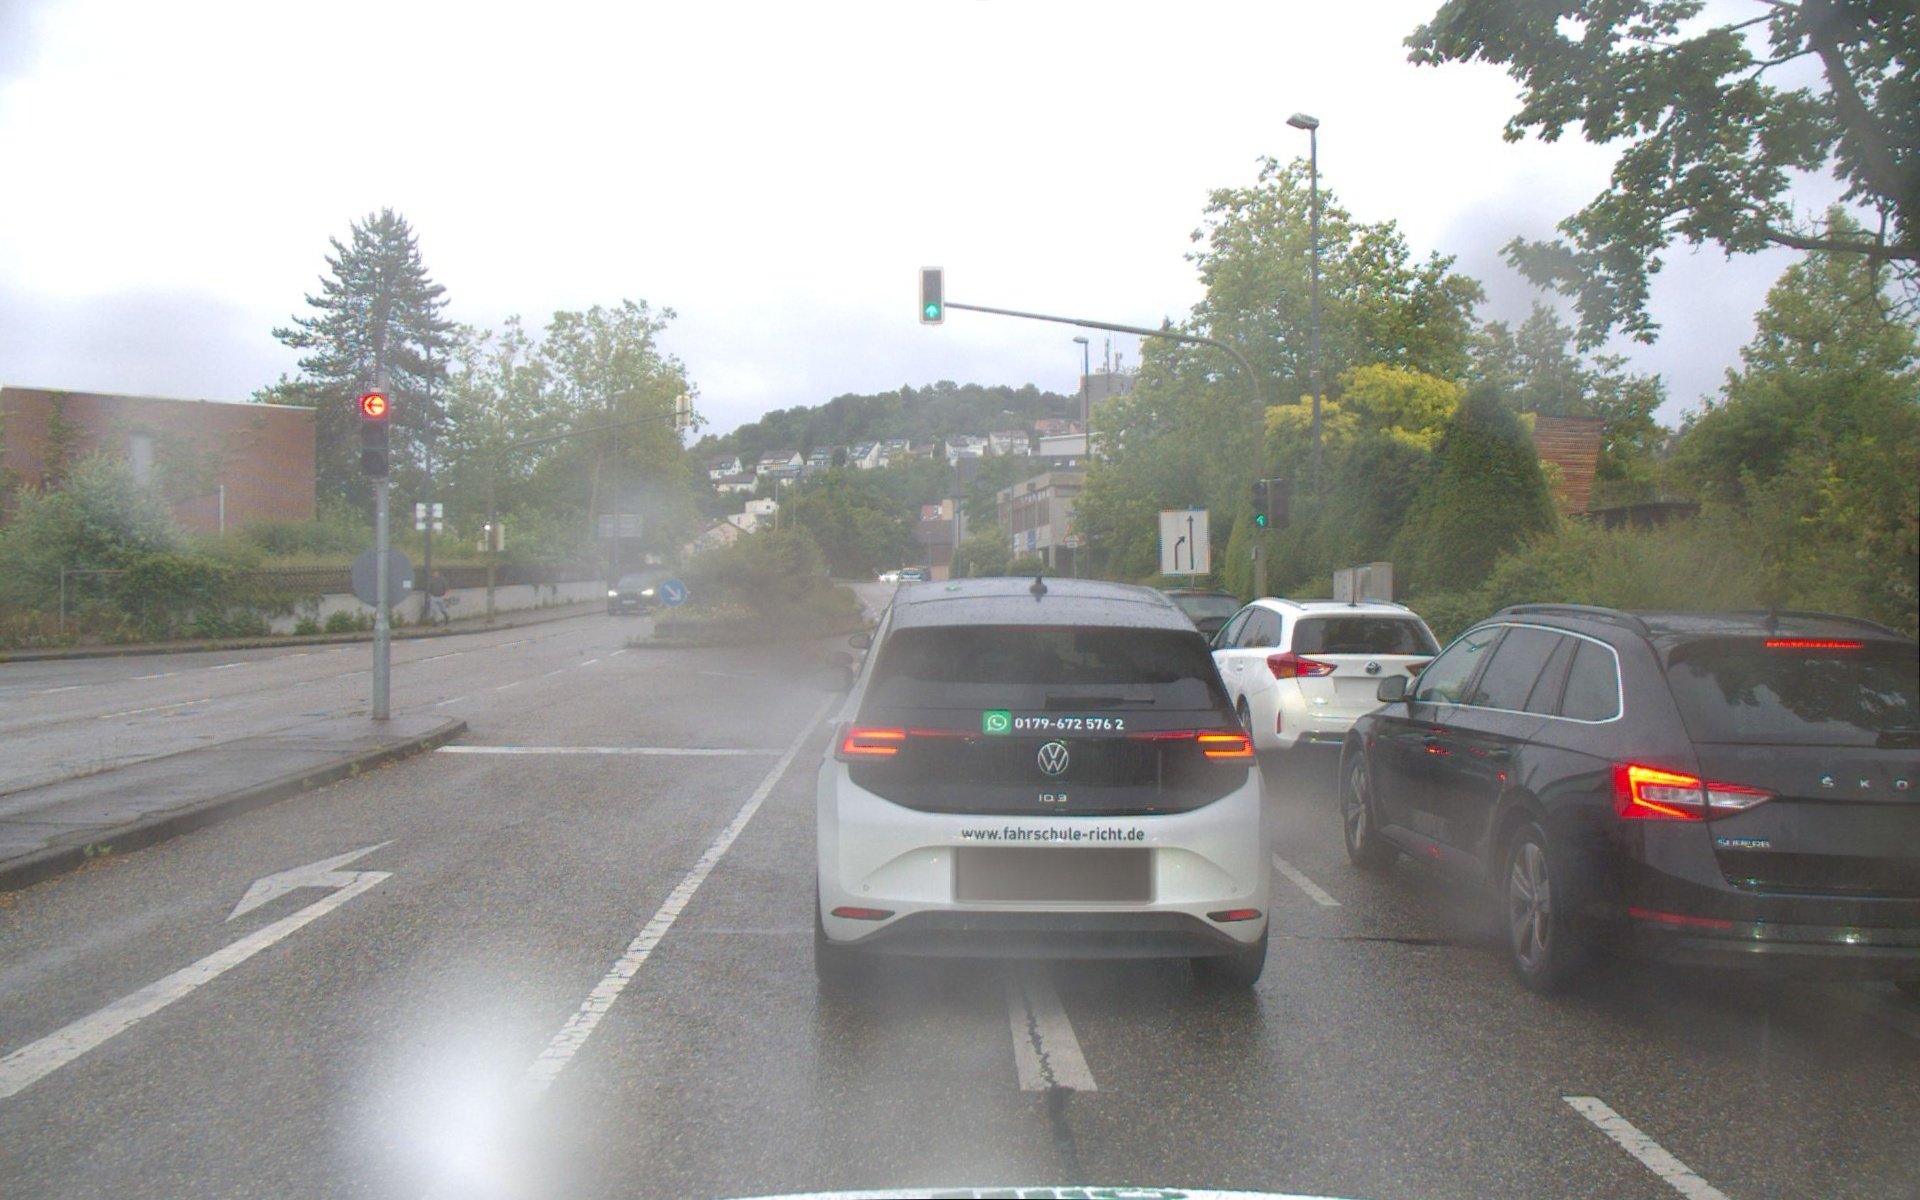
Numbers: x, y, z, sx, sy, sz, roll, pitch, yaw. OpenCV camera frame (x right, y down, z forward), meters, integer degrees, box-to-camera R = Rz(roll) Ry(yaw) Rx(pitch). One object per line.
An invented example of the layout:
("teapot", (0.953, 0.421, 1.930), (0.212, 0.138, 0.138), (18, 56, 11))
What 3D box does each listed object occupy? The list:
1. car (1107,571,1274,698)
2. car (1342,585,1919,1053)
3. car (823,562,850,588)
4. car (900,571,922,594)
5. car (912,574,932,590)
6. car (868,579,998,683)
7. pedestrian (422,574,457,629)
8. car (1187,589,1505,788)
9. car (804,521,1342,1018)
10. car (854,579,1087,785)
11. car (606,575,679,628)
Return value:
("car", (3.149, 0.448, 23.326), (1.739, 1.609, 3.999), (1, 0, -1))
("car", (3.135, 0.701, 7.535), (1.800, 1.492, 4.350), (1, 1, 1))
("car", (-10.447, -2.068, 140.123), (1.953, 2.049, 3.999), (1, -1, -1))
("car", (-3.462, -1.226, 117.349), (1.549, 1.492, 3.998), (-1, 0, -2))
("car", (-3.527, -1.696, 153.093), (1.726, 1.443, 3.747), (-1, 1, -3))
("car", (-0.427, 0.423, 25.392), (1.800, 1.424, 3.830), (1, 1, -1))
("pedestrian", (-15.574, 0.048, 49.502), (0.744, 1.595, 0.825), (-2, 0, -2))
("car", (3.297, 0.680, 14.964), (1.800, 1.492, 4.116), (1, 1, -1))
("car", (0.335, 0.558, 7.953), (1.800, 1.657, 4.614), (1, 1, -1))
("car", (0.034, 0.623, 15.125), (1.800, 1.582, 4.174), (1, 1, -1))
("car", (-12.030, 0.045, 62.912), (1.953, 1.836, 3.999), (-3, 0, -1))
